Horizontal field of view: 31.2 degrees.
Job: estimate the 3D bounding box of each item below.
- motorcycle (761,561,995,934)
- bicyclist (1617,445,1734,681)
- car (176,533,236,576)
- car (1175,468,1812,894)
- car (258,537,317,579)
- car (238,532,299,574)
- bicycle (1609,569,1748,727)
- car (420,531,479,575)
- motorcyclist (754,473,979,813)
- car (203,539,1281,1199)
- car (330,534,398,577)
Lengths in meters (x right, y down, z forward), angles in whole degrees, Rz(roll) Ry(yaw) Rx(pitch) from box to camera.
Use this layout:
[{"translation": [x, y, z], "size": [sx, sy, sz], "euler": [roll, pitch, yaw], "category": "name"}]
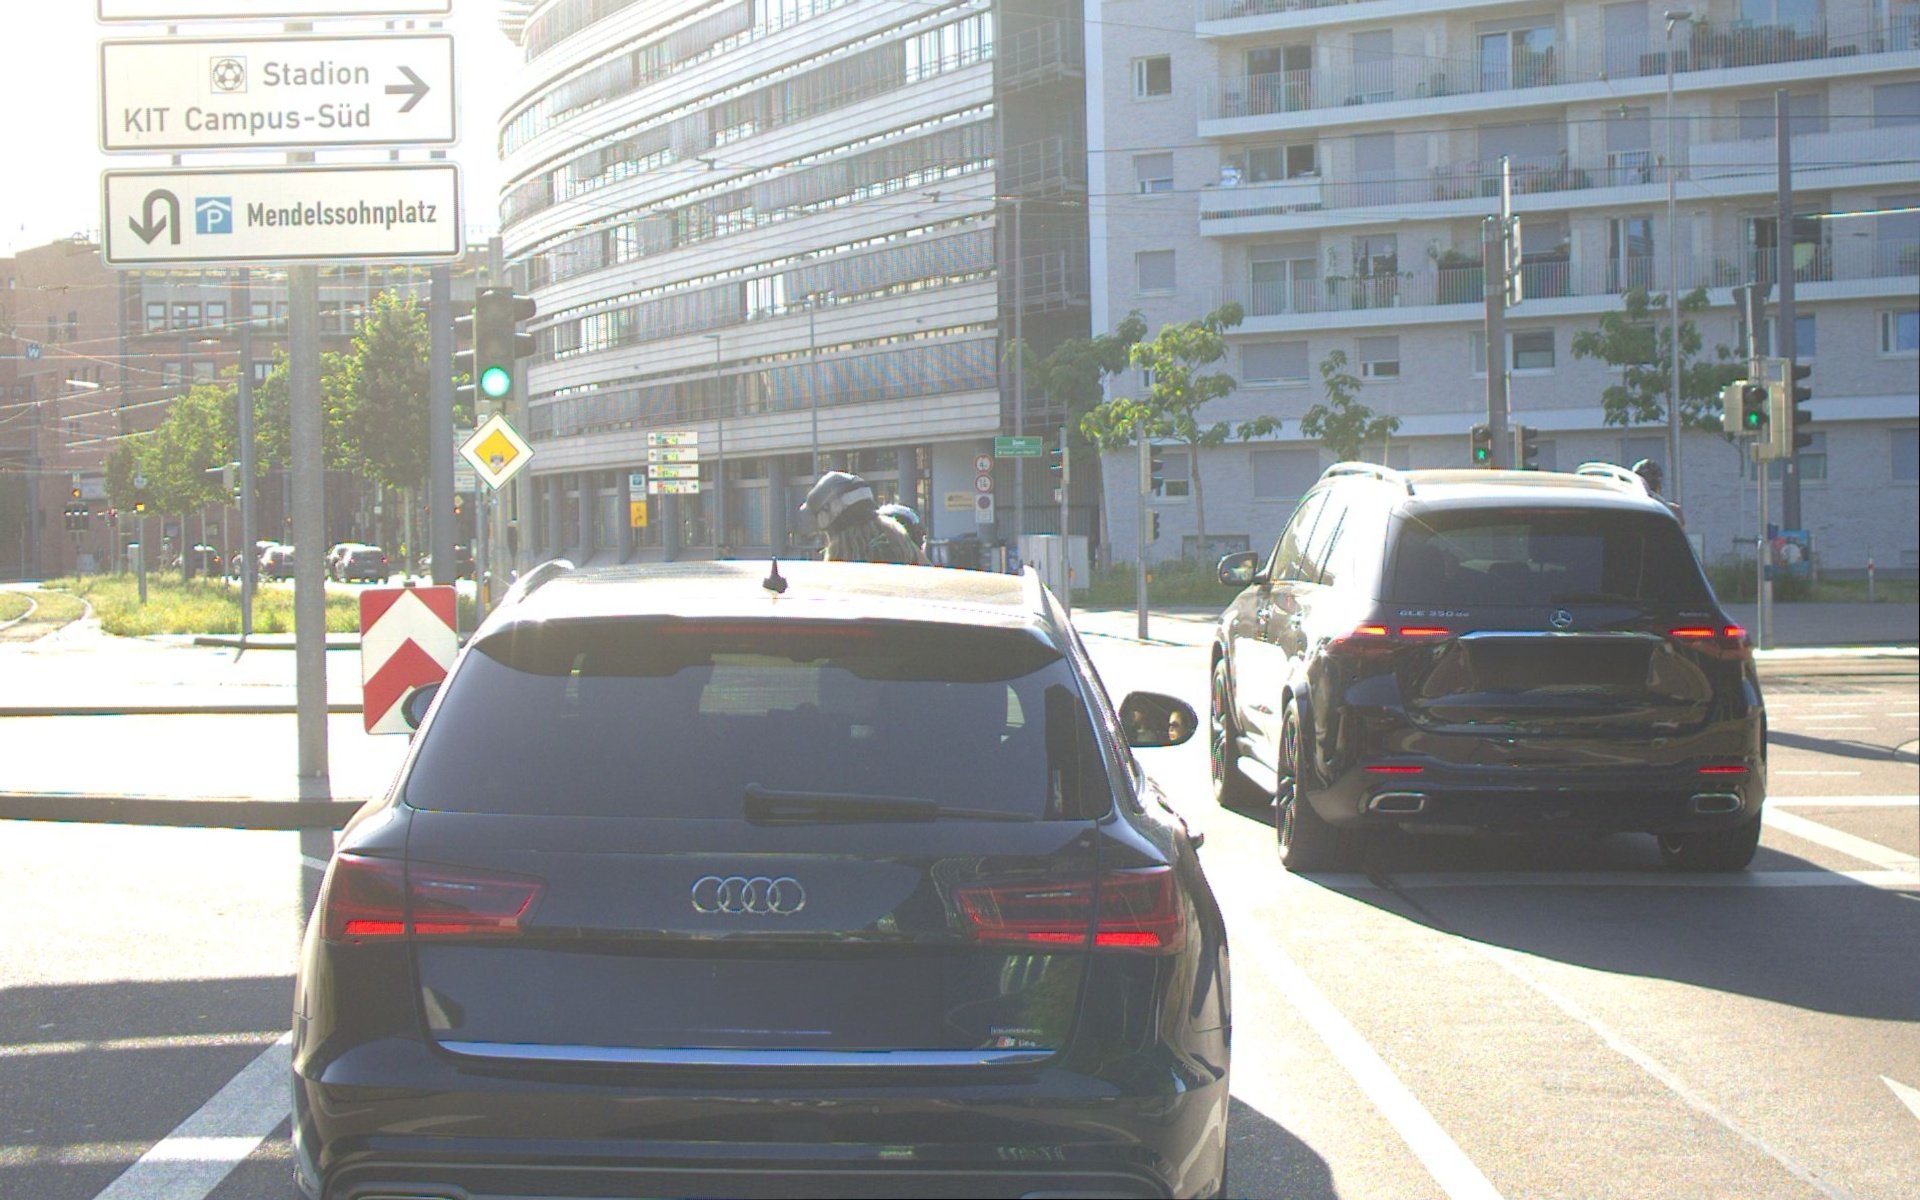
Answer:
[{"translation": [-0.318, 0.546, 13.924], "size": [0.862, 1.388, 1.894], "euler": [-1, 1, -1], "category": "motorcycle"}, {"translation": [5.086, -0.272, 24.473], "size": [0.654, 1.637, 0.972], "euler": [-1, 2, 2], "category": "bicyclist"}, {"translation": [-31.723, -1.884, 144.568], "size": [1.993, 1.700, 4.001], "euler": [-2, 1, -19], "category": "car"}, {"translation": [2.300, 0.273, 16.105], "size": [2.003, 1.709, 4.373], "euler": [1, 1, -4], "category": "car"}, {"translation": [-27.261, -1.691, 139.314], "size": [1.993, 1.590, 4.001], "euler": [-2, 1, -16], "category": "car"}, {"translation": [-29.414, -1.993, 146.136], "size": [1.993, 1.700, 4.001], "euler": [-2, 1, -19], "category": "car"}, {"translation": [5.096, 0.321, 24.486], "size": [0.654, 1.039, 1.929], "euler": [-1, 2, 2], "category": "bicycle"}, {"translation": [-22.105, -2.019, 148.747], "size": [1.993, 1.831, 4.001], "euler": [-2, 1, -16], "category": "car"}, {"translation": [-0.370, 0.162, 13.811], "size": [0.862, 1.322, 0.681], "euler": [-1, 1, -1], "category": "motorcyclist"}, {"translation": [-0.415, 0.614, 7.925], "size": [1.842, 1.449, 4.001], "euler": [1, 1, -1], "category": "car"}, {"translation": [-23.770, -1.773, 136.962], "size": [1.993, 1.590, 4.001], "euler": [-2, 1, -19], "category": "car"}]
